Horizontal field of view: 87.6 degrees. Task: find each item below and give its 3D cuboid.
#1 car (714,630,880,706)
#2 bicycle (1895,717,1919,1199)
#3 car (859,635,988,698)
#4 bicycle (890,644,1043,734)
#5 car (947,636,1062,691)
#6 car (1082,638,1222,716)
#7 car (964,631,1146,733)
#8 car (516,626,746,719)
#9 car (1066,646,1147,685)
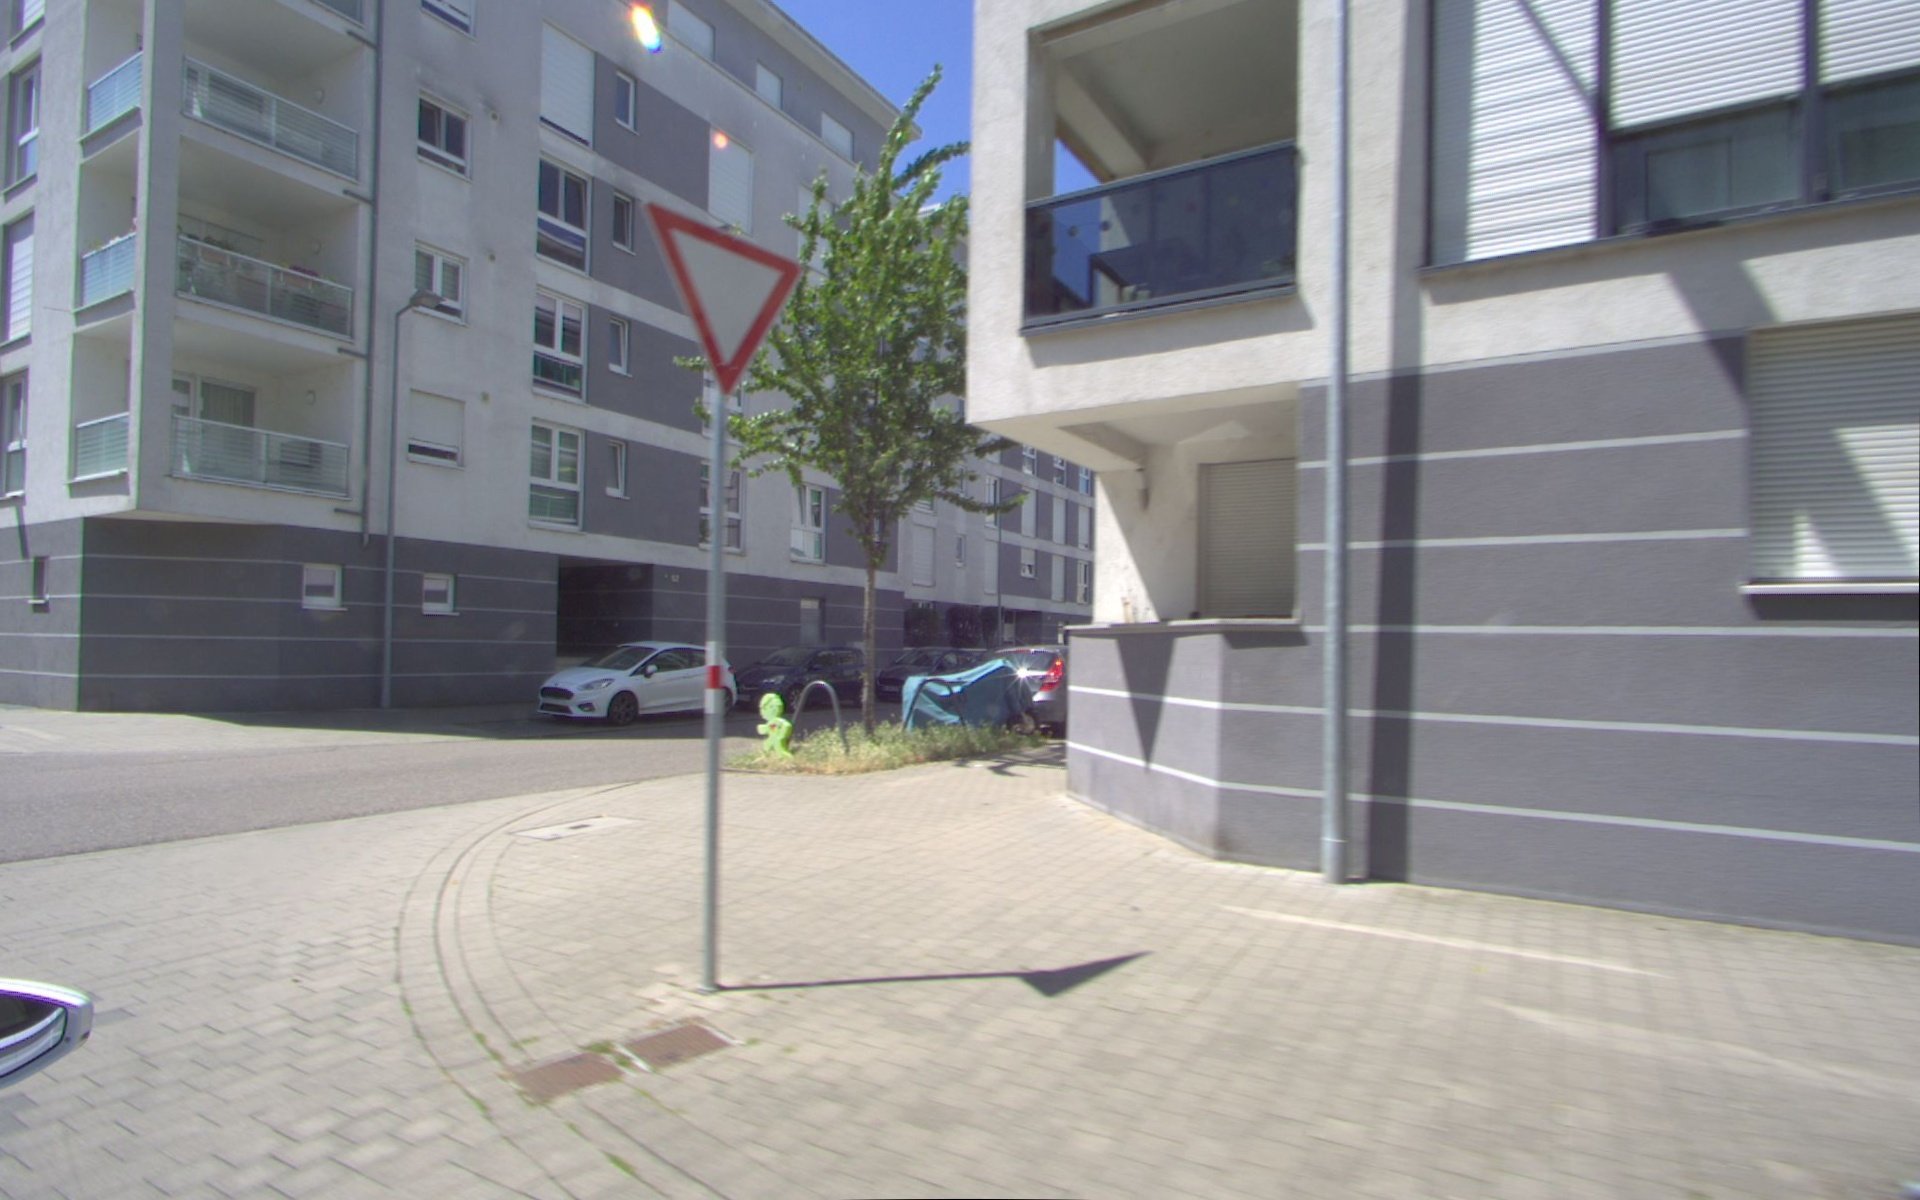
[{"bbox_3d":[-3.638,1.527,22.994,1.702,1.577,3.787,0,-3,31],"label":"car"},{"bbox_3d":[2.293,0.892,1.746,0.678,1.208,1.855,0,-1,34],"label":"bicycle"},{"bbox_3d":[-0.930,1.798,27.461,1.804,1.504,3.870,2,-2,28],"label":"car"},{"bbox_3d":[0.114,1.307,14.982,2.212,1.253,0.783,1,-2,4],"label":"bicycle"},{"bbox_3d":[1.493,1.987,31.730,1.833,1.577,4.267,0,-3,31],"label":"car"},{"bbox_3d":[4.385,1.664,22.365,1.969,1.549,3.986,-1,-3,29],"label":"car"},{"bbox_3d":[1.771,1.380,17.643,1.782,1.582,3.671,-2,-3,31],"label":"car"},{"bbox_3d":[-6.106,1.326,19.040,1.728,1.489,3.984,3,-1,30],"label":"car"},{"bbox_3d":[5.787,2.516,39.121,1.693,1.401,4.129,0,-3,30],"label":"car"}]
